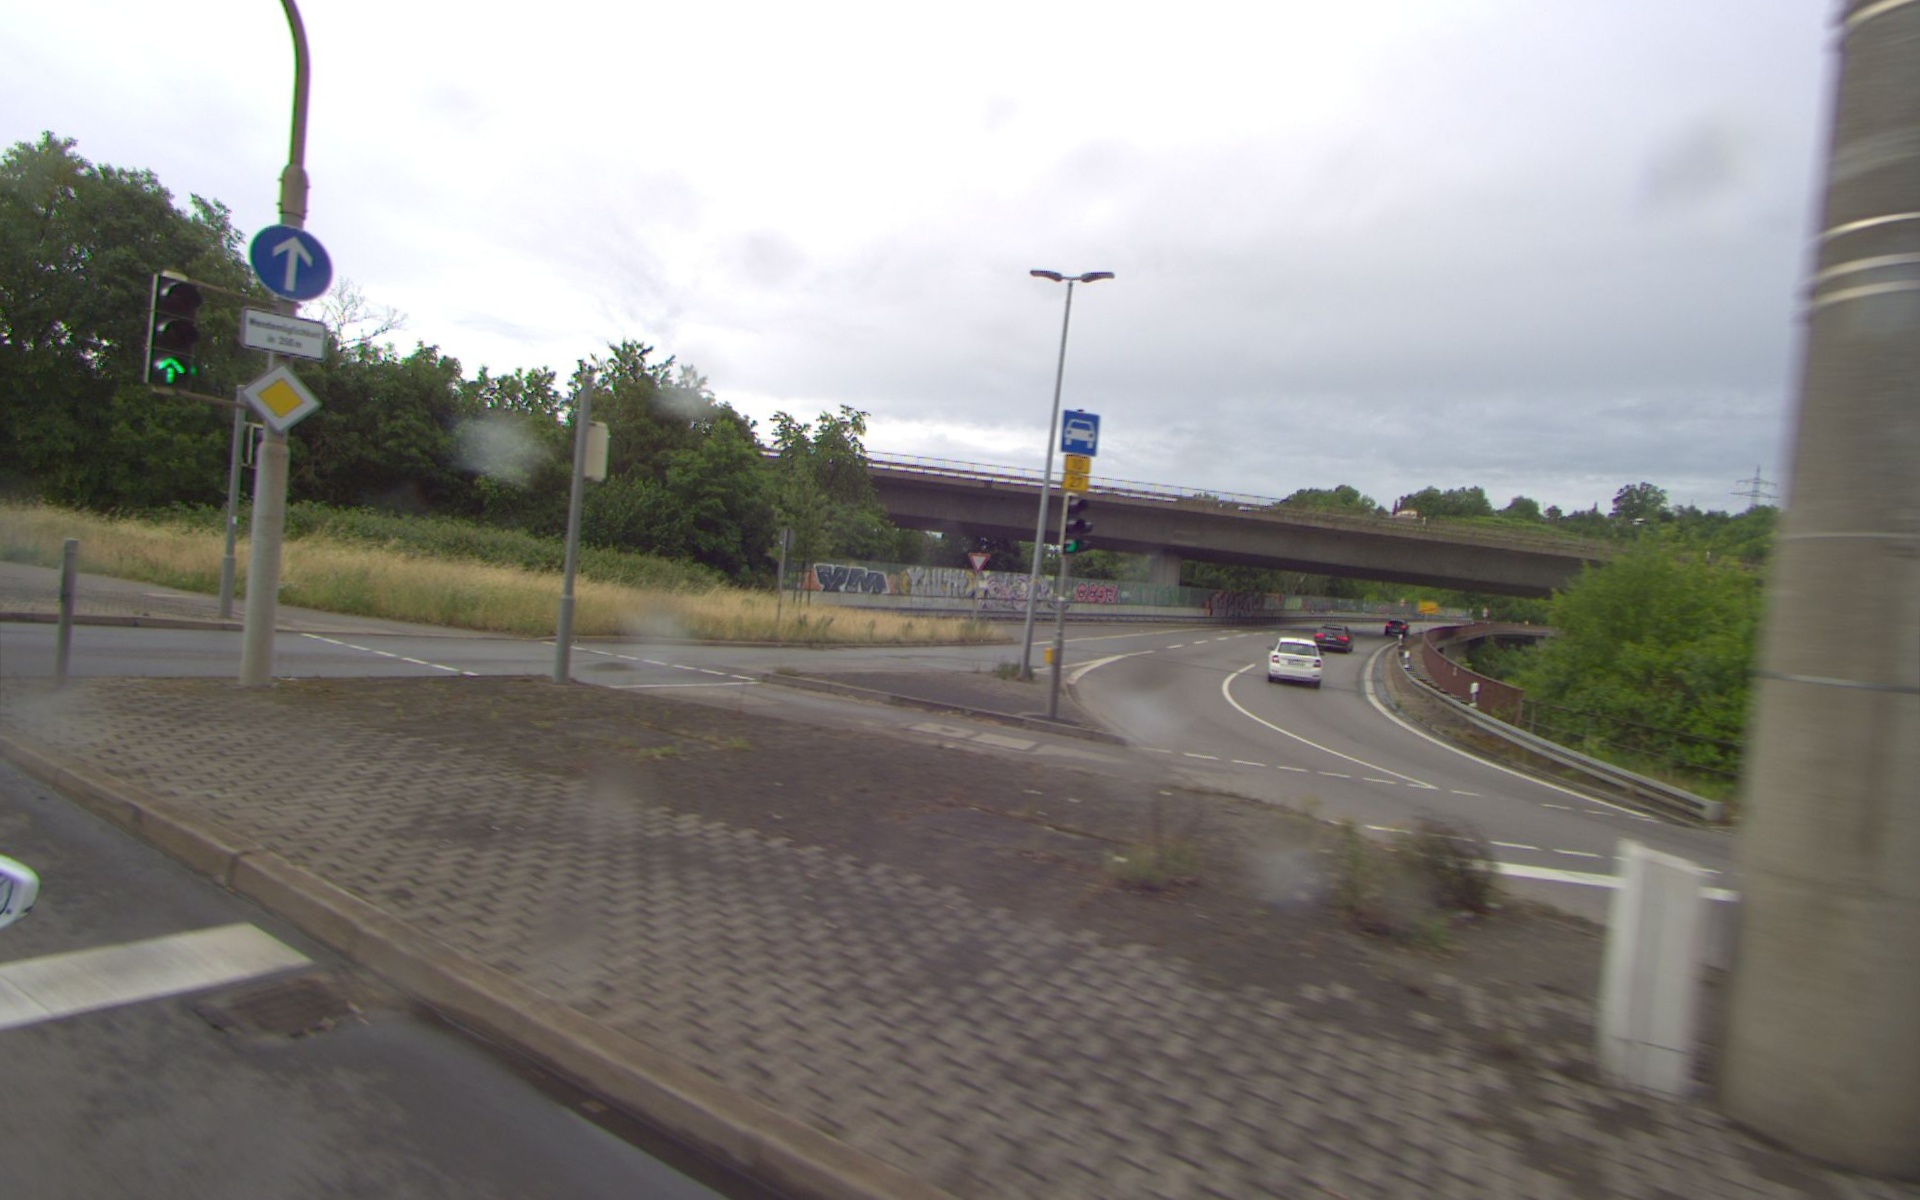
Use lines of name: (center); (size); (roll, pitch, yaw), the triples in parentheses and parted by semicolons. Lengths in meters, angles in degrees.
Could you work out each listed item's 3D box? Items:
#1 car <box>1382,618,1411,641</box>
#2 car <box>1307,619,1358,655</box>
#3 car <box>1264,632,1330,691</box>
car: (38.771, 2.627, 89.332); (1.841, 1.736, 3.994); (7, 0, 29)
car: (20.037, 2.014, 53.995); (1.879, 1.554, 3.994); (7, 0, 29)
car: (11.178, 1.992, 33.543); (1.719, 1.477, 3.668); (8, 3, 16)
